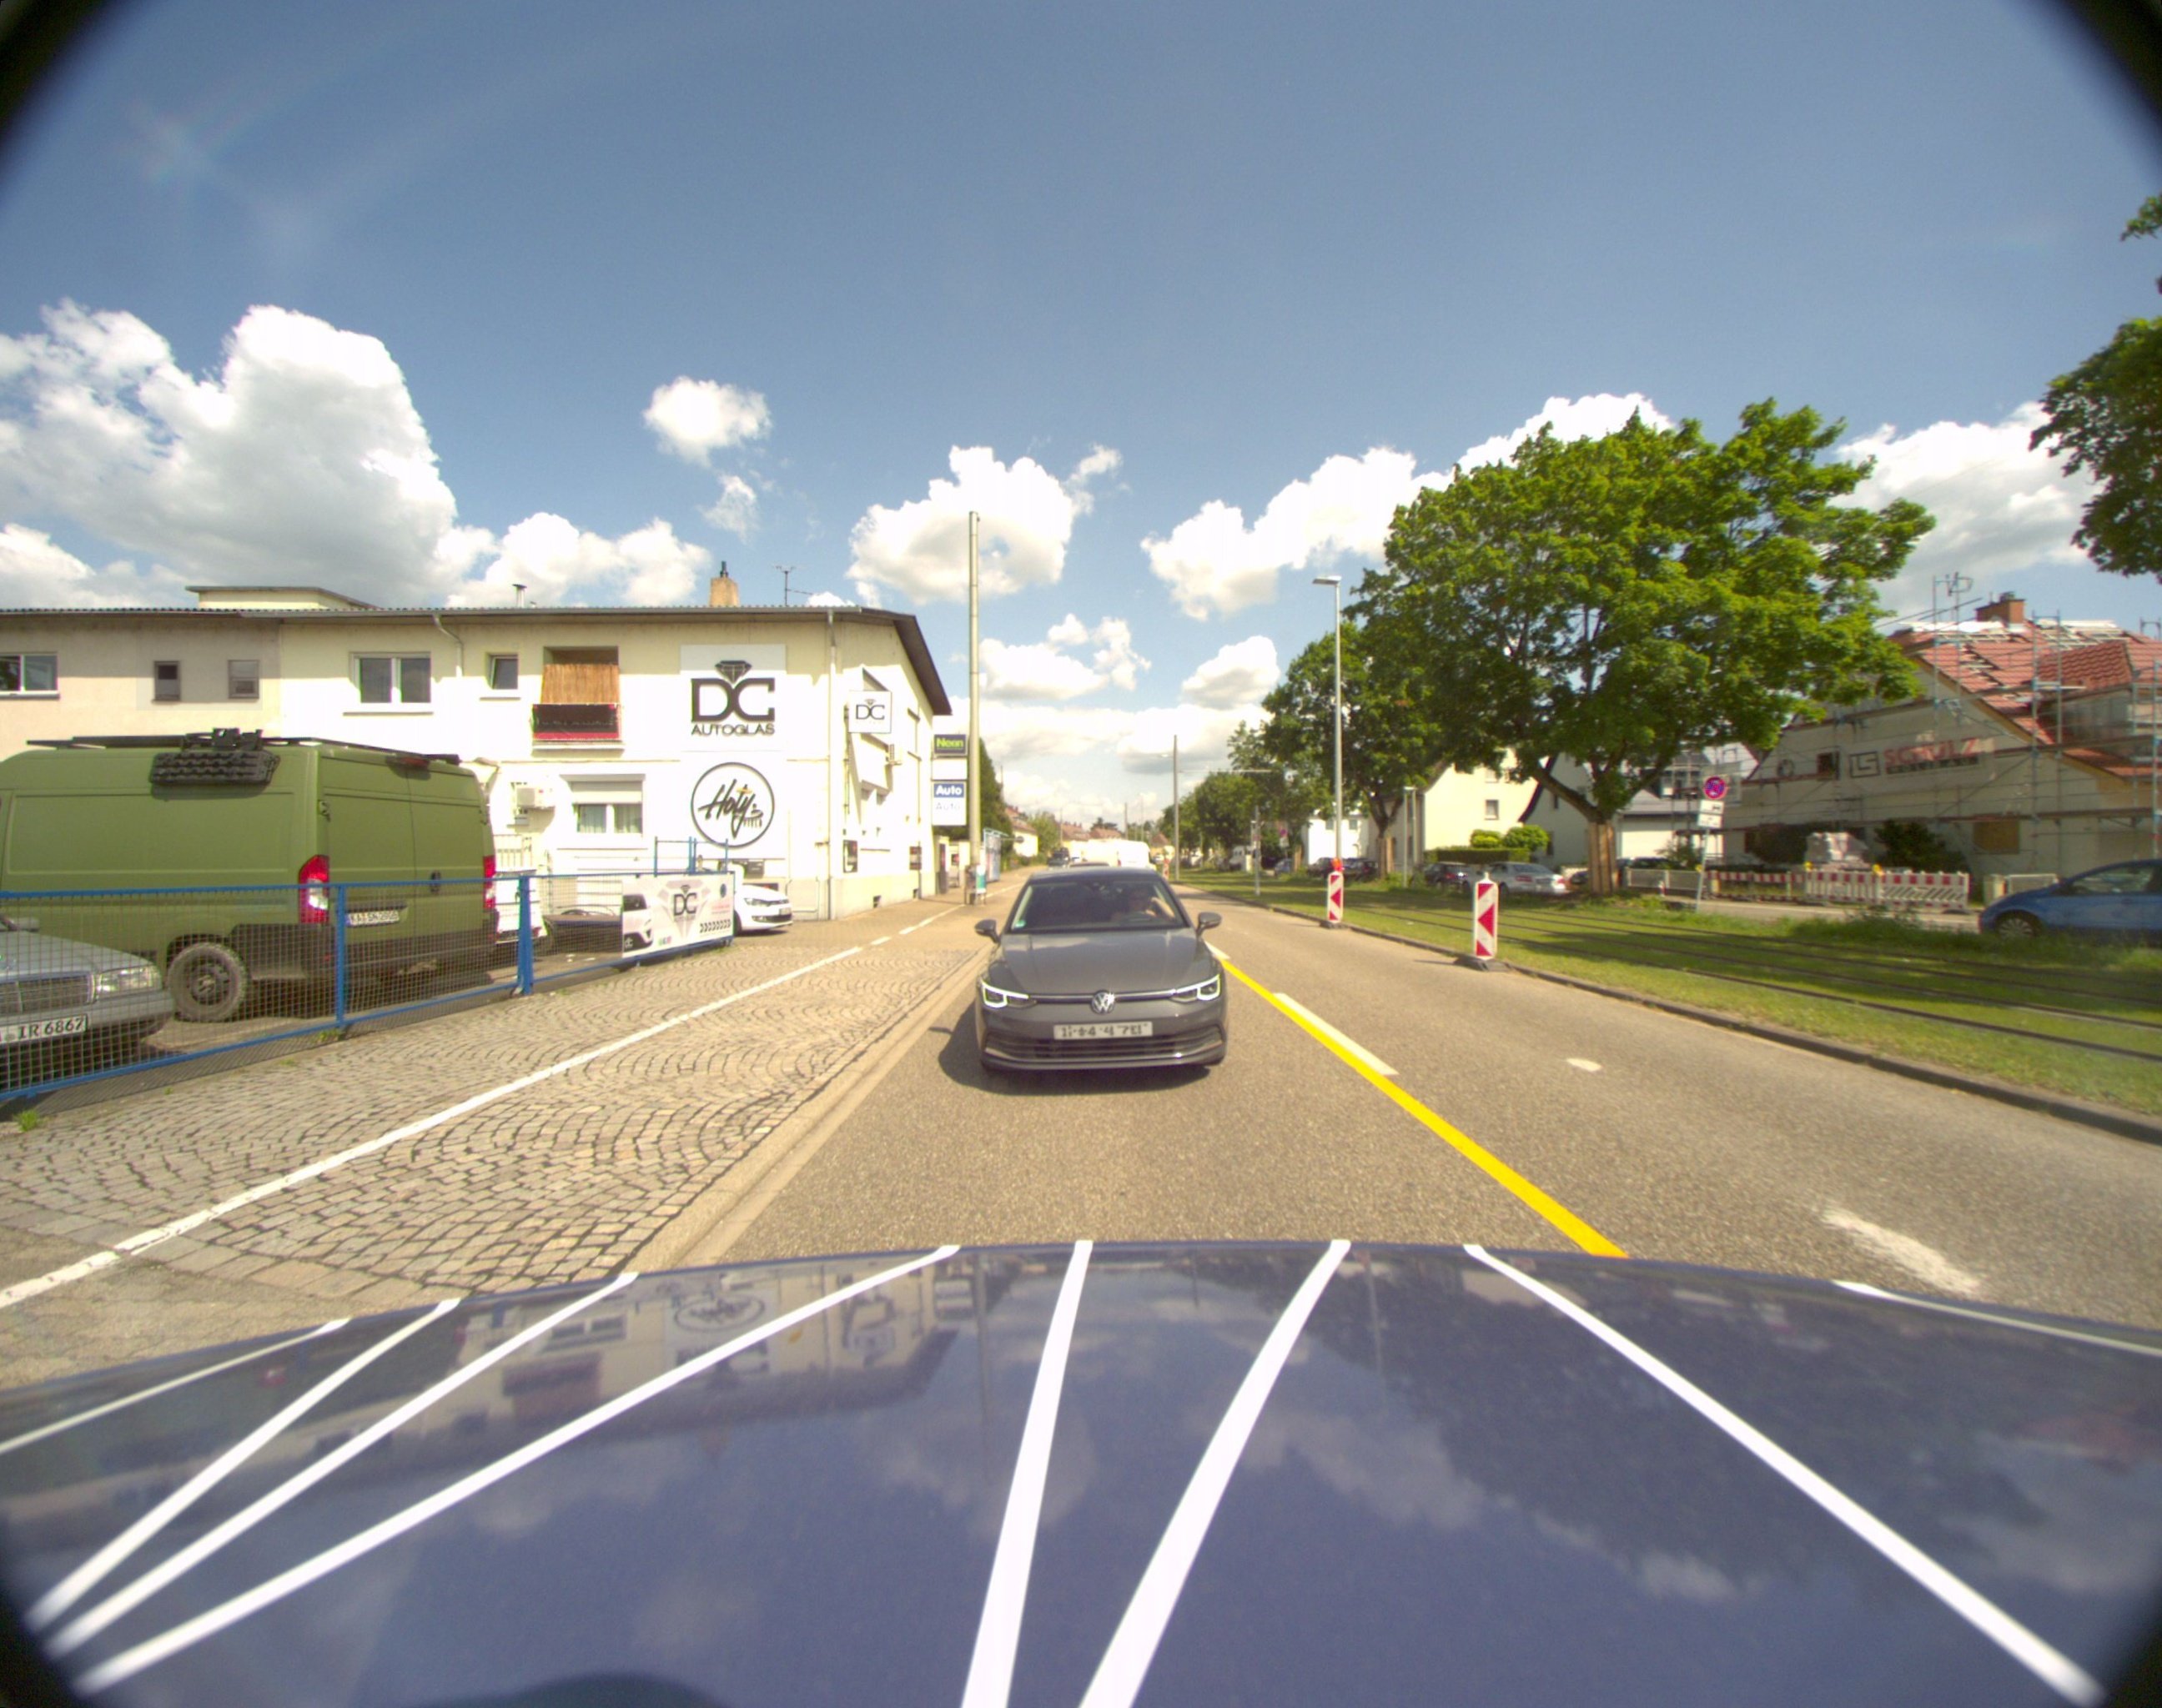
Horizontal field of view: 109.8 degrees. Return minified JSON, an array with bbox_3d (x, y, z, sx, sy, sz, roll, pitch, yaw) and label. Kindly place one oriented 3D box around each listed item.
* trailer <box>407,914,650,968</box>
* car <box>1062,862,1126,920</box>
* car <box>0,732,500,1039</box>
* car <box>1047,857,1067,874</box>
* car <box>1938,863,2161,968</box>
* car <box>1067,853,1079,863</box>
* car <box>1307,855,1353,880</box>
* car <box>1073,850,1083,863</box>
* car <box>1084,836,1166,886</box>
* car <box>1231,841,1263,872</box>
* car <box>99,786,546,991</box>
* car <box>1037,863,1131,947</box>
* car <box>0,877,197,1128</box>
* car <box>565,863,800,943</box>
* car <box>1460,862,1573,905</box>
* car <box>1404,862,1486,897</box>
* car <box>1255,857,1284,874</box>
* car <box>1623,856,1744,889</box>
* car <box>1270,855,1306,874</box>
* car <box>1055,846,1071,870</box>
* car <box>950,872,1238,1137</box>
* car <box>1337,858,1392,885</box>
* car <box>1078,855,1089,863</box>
[{"bbox_3d":[-8.372,1.313,11.666,2.733,0.662,1.329,0,0,-1],"label":"trailer"},{"bbox_3d":[0.363,1.010,22.255,1.702,1.477,4.000,0,0,1],"label":"car"},{"bbox_3d":[-8.730,0.277,7.616,4.207,2.627,2.113,0,0,2],"label":"car"},{"bbox_3d":[-2.194,1.063,70.761,1.702,1.574,4.000,0,0,1],"label":"car"},{"bbox_3d":[16.198,0.875,11.407,1.702,1.477,4.407,-1,-1,1],"label":"car"},{"bbox_3d":[-1.312,0.696,122.803,1.701,1.574,4.001,0,0,3],"label":"car"},{"bbox_3d":[16.546,0.913,50.669,1.702,1.562,4.407,-1,-1,1],"label":"car"},{"bbox_3d":[-0.501,0.446,136.410,1.701,2.233,4.947,0,0,2],"label":"car"},{"bbox_3d":[2.515,0.376,41.346,2.086,2.449,5.853,2,0,28],"label":"car"},{"bbox_3d":[16.808,0.292,77.280,2.136,3.019,5.084,-1,-1,1],"label":"car"},{"bbox_3d":[-9.505,0.409,9.740,4.207,2.392,1.586,0,0,2],"label":"car"},{"bbox_3d":[0.074,0.948,15.790,1.702,1.477,4.000,0,0,1],"label":"car"},{"bbox_3d":[-8.463,0.894,4.780,4.282,1.444,1.713,0,0,8],"label":"car"},{"bbox_3d":[-7.666,0.923,14.824,3.775,1.454,1.555,0,0,2],"label":"car"},{"bbox_3d":[16.447,1.078,28.980,1.788,1.477,4.523,-1,-1,2],"label":"car"},{"bbox_3d":[16.619,1.133,34.946,1.702,1.477,4.407,-1,-1,1],"label":"car"},{"bbox_3d":[17.637,1.095,71.335,1.702,1.477,4.407,-1,-1,1],"label":"car"},{"bbox_3d":[28.899,0.903,36.520,4.402,1.477,1.704,-1,-1,1],"label":"car"},{"bbox_3d":[16.636,0.891,61.290,1.702,1.477,4.407,-1,-1,1],"label":"car"},{"bbox_3d":[-1.923,0.467,82.446,1.702,2.510,5.144,0,0,0],"label":"car"},{"bbox_3d":[0.106,0.942,6.503,1.702,1.477,4.000,0,0,1],"label":"car"},{"bbox_3d":[16.763,1.049,45.163,1.702,1.477,4.407,-1,-1,1],"label":"car"},{"bbox_3d":[0.471,0.930,146.714,1.701,1.574,4.002,0,0,6],"label":"car"}]
